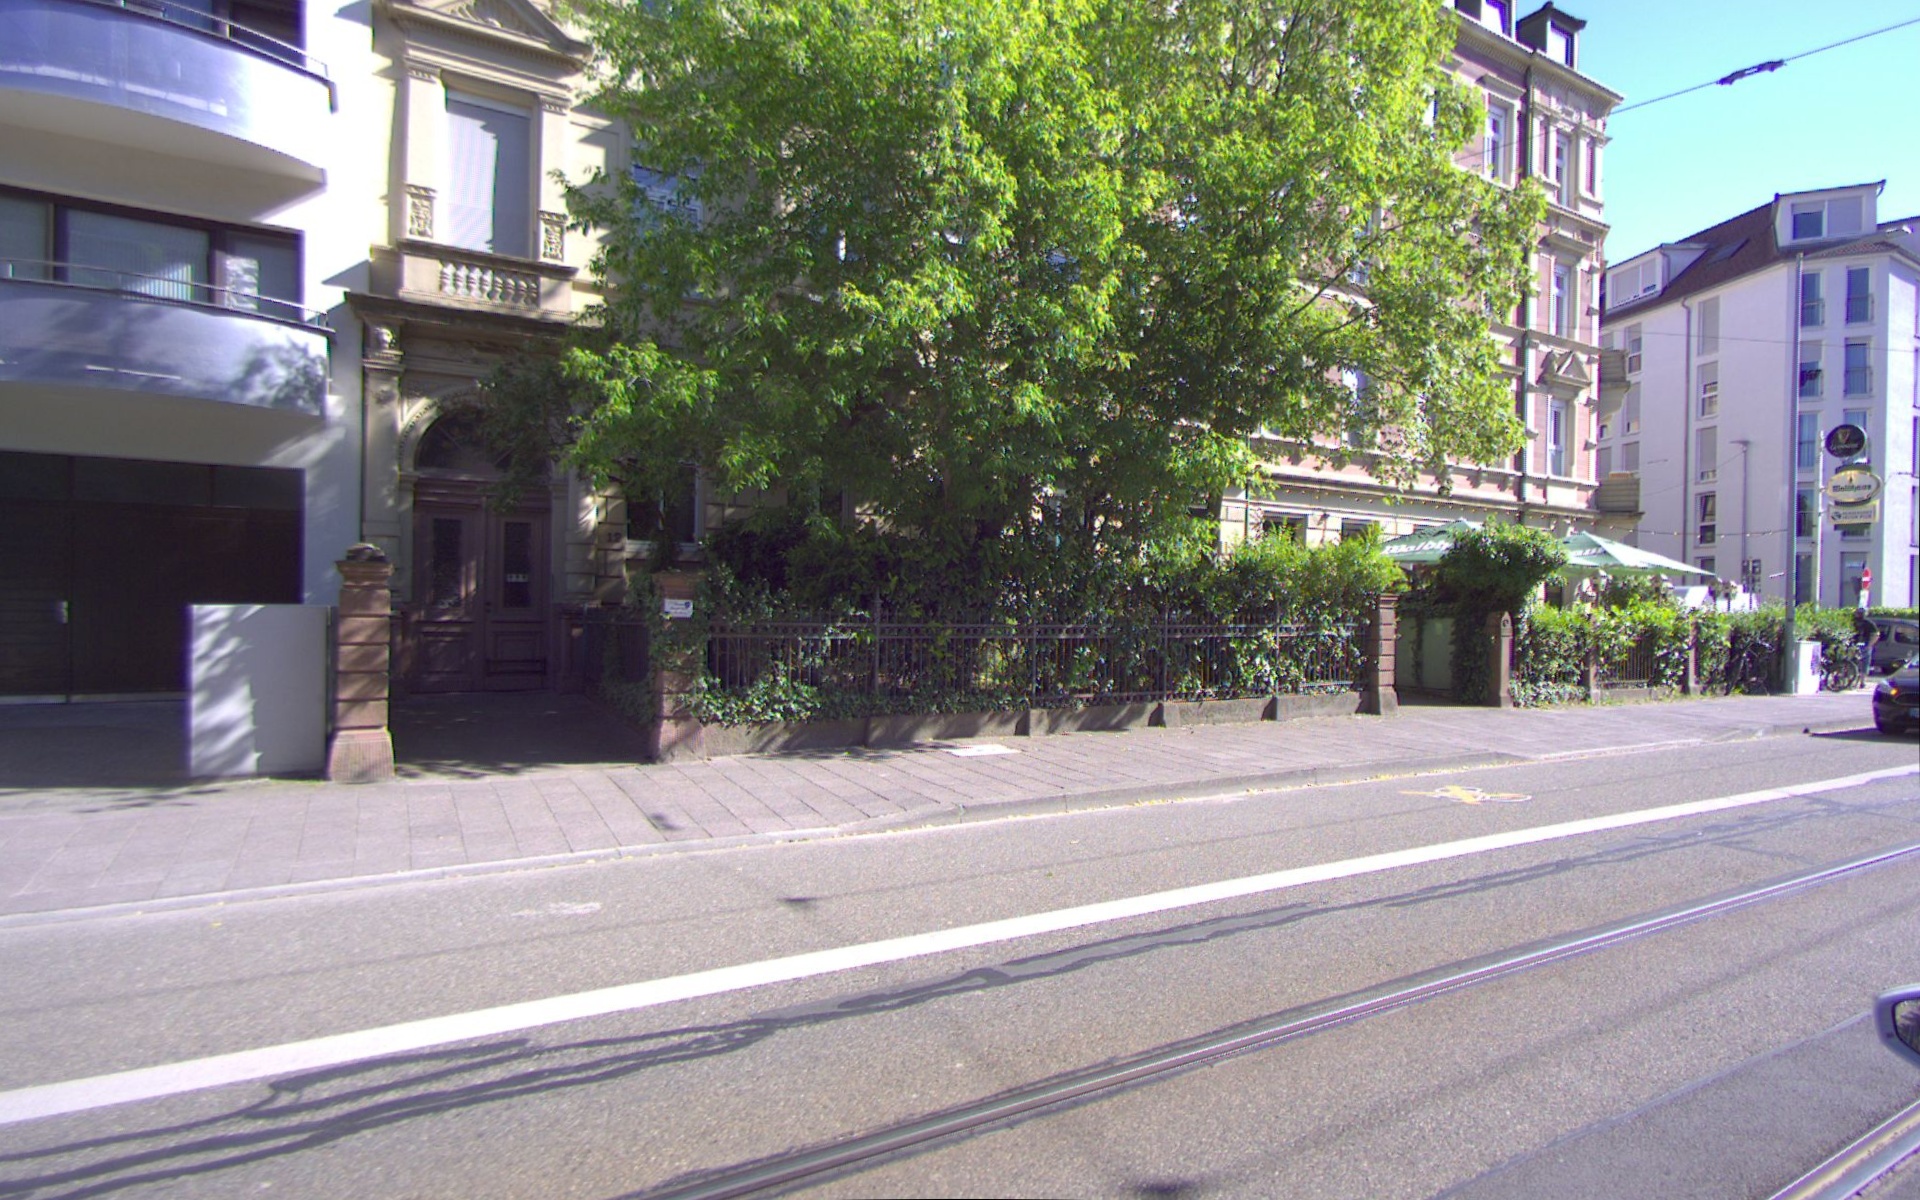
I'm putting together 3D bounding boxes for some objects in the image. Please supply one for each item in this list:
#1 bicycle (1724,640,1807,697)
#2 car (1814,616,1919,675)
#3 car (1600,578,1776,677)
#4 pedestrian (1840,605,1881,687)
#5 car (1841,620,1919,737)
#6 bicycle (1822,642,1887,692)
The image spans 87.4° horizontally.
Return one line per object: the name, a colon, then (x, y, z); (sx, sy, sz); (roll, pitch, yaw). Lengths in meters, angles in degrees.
bicycle: (15.683, 1.310, 19.539); (2.197, 1.052, 0.511); (1, 0, -31)
car: (30.098, 1.448, 32.138); (1.759, 1.831, 4.048); (2, -1, -9)
car: (23.110, 0.890, 31.924); (4.702, 2.878, 1.888); (2, -1, -14)
pedestrian: (20.112, 1.013, 22.437); (0.533, 1.805, 0.553); (1, 0, -33)
car: (15.156, 1.110, 14.737); (4.531, 1.597, 1.858); (1, -2, -28)
bicycle: (19.041, 1.406, 21.373); (1.757, 0.994, 0.524); (1, 0, -31)
